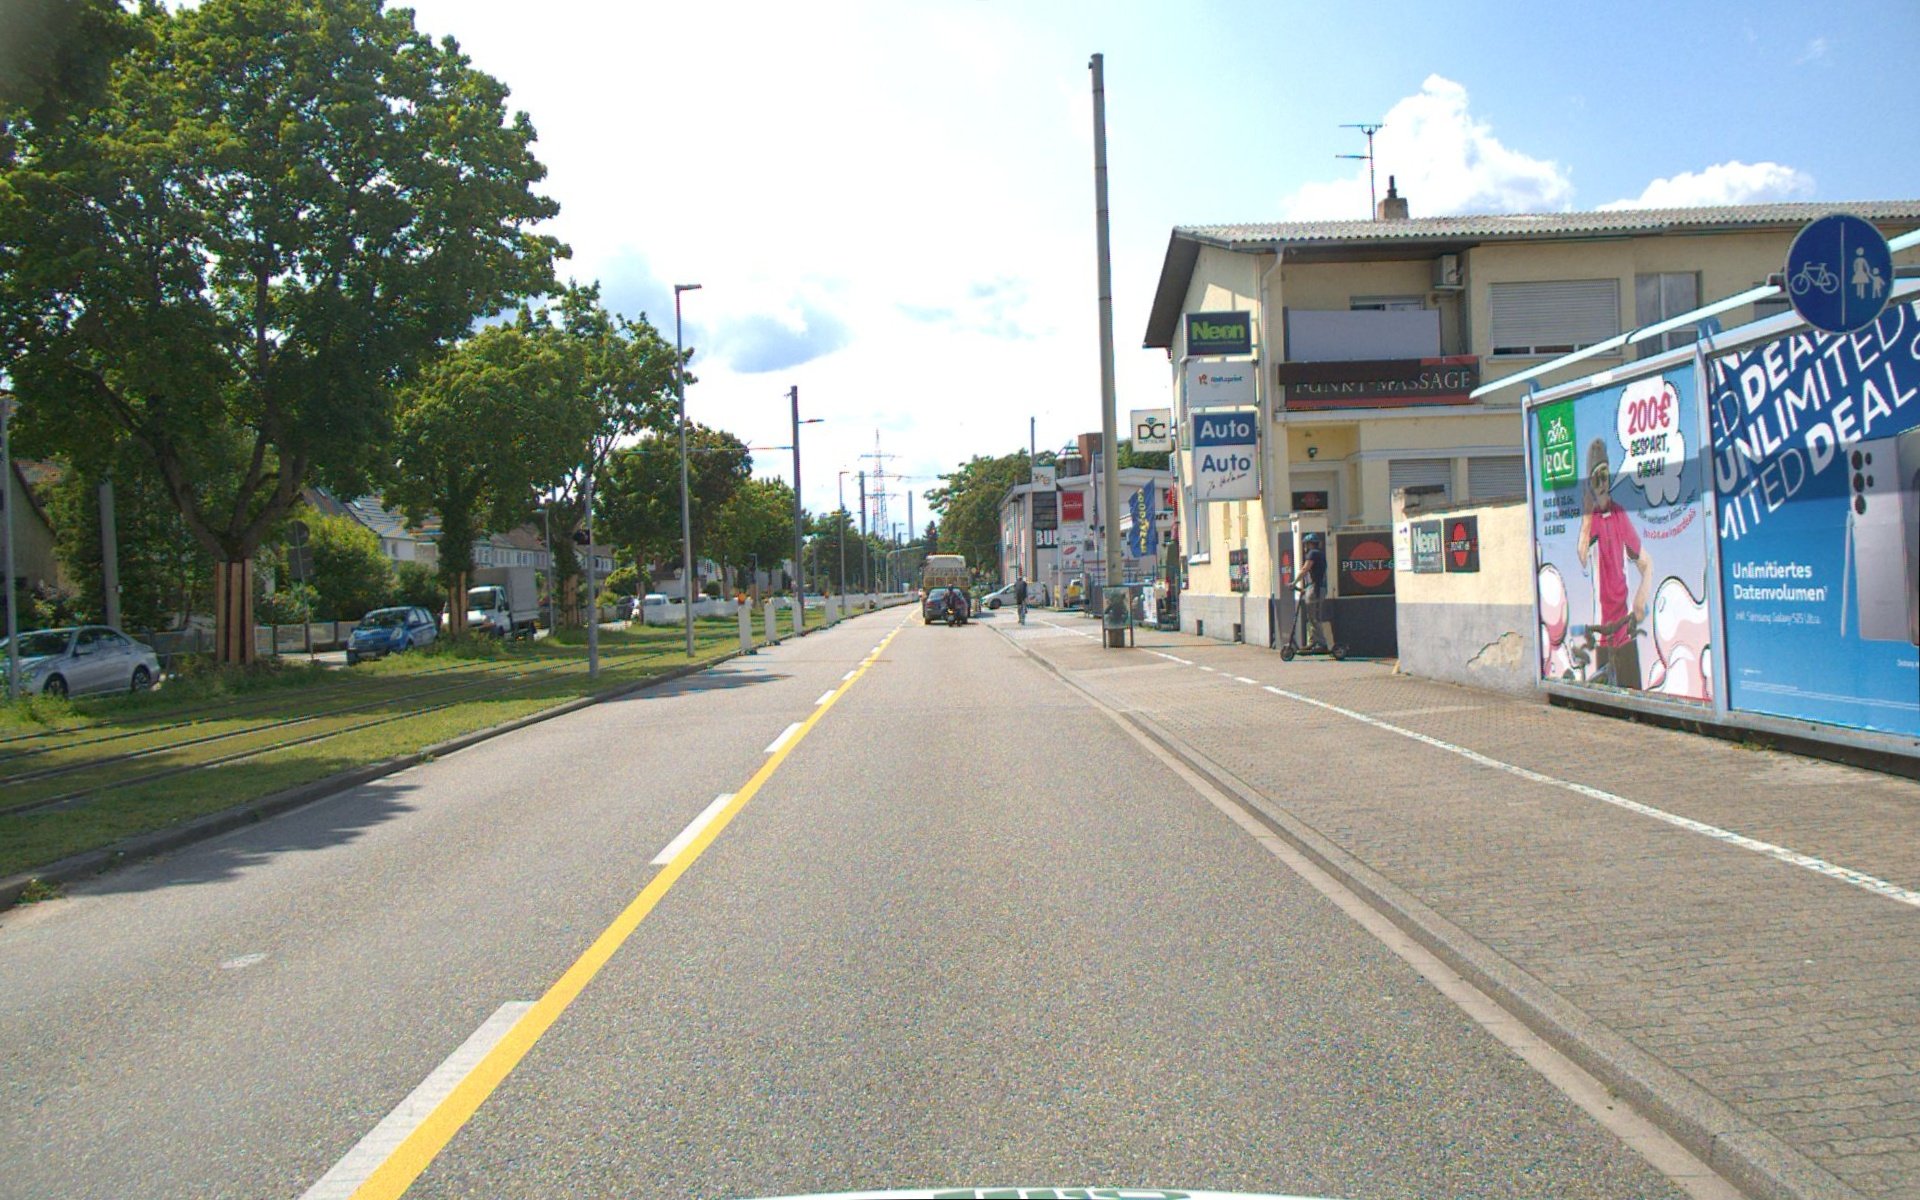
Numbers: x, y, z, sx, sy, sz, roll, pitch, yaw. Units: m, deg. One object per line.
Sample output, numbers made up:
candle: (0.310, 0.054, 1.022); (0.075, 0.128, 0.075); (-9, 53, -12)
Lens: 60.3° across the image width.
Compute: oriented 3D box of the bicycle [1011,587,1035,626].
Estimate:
bicycle: (2.318, 0.219, 61.108); (0.679, 1.385, 2.418); (-2, 1, -1)

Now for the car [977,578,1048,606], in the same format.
car: (3.419, -0.531, 107.974); (4.250, 1.578, 1.946); (-3, 0, -9)

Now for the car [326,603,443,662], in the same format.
car: (-16.144, 0.876, 46.619); (1.954, 1.478, 3.998); (-3, 0, -2)

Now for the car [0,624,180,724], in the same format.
car: (-15.807, 1.267, 29.108); (1.768, 1.508, 4.939); (-3, 0, 0)

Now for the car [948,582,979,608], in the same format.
car: (0.196, -0.315, 99.696); (1.784, 1.489, 4.000); (-2, 1, 0)

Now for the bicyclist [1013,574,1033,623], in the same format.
bicyclist: (2.322, -0.066, 61.083); (0.657, 1.774, 0.813); (-2, 0, -1)

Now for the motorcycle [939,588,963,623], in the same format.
motorcycle: (-0.360, 0.218, 66.020); (0.920, 1.343, 2.644); (0, 0, -1)

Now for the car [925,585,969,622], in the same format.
car: (-0.575, 0.133, 70.491); (1.784, 1.449, 4.000); (-2, 1, -1)

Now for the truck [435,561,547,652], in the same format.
truck: (-16.230, 0.161, 57.607); (1.954, 2.815, 6.275); (-5, 1, -1)

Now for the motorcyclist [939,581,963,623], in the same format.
motorcyclist: (-0.356, 0.062, 65.839); (0.920, 1.643, 1.204); (0, 0, -1)

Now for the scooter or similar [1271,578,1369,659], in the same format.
scooter or similar: (5.636, 0.294, 25.981); (0.535, 1.216, 1.594); (-2, 0, -31)

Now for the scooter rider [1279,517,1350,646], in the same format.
scooter rider: (5.590, -0.282, 26.091); (0.710, 1.998, 0.777); (-1, -1, -31)

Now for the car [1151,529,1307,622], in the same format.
car: (8.291, -0.759, 51.334); (4.443, 2.618, 2.151); (-3, 0, 1)

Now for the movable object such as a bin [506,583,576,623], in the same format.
movable object such as a bin: (-28.067, 0.184, 110.809); (4.277, 2.492, 1.776); (-3, 0, -23)

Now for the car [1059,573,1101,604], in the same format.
car: (7.039, -0.646, 97.385); (1.920, 1.677, 3.998); (-3, 0, -3)

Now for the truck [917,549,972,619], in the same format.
truck: (-0.769, -0.927, 86.611); (2.557, 3.312, 9.183); (-3, 2, 0)

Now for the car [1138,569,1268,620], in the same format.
car: (7.921, -0.179, 54.221); (4.095, 1.456, 1.822); (-3, 0, 6)
